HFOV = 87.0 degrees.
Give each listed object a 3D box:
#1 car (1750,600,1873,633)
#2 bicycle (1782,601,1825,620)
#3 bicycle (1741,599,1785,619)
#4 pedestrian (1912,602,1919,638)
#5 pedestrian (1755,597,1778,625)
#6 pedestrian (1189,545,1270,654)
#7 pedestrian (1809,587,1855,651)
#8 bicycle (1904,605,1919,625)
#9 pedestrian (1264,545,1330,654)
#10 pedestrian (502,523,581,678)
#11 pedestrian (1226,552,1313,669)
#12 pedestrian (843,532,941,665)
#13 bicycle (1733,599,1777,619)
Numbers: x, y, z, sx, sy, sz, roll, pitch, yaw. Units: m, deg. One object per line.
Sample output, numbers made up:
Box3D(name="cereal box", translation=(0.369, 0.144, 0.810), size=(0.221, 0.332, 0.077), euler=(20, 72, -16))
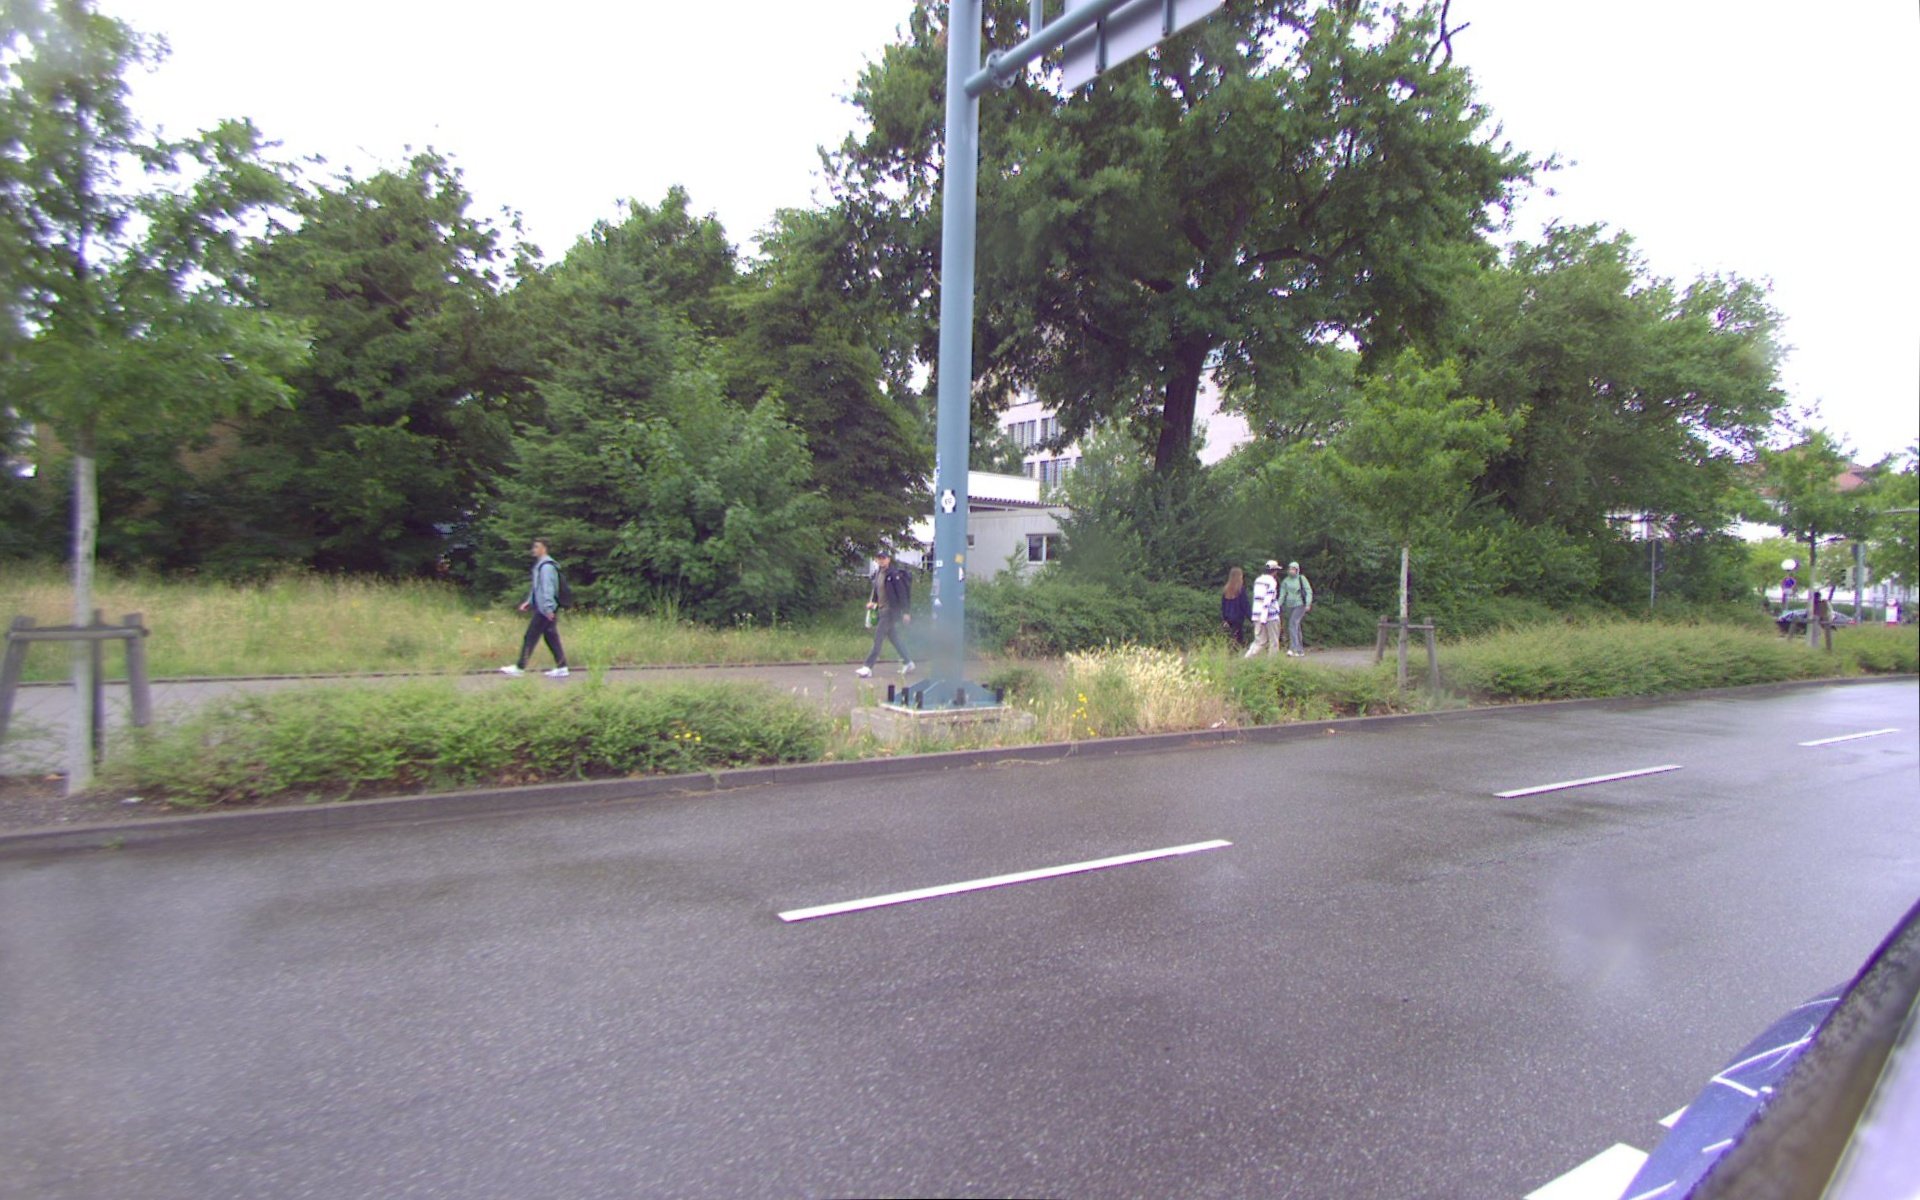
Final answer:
Box3D(name="car", translation=(42.084, 0.788, 50.099), size=(1.740, 1.353, 4.390), euler=(-2, 3, -36))
Box3D(name="bicycle", translation=(59.478, 0.744, 71.353), size=(0.589, 1.237, 2.280), euler=(1, 1, -45))
Box3D(name="bicycle", translation=(54.749, 0.621, 69.007), size=(0.589, 1.237, 2.280), euler=(1, 1, -45))
Box3D(name="pedestrian", translation=(44.192, 0.940, 46.237), size=(0.872, 1.627, 0.853), euler=(2, 1, 35))
Box3D(name="pedestrian", translation=(51.756, 0.716, 64.963), size=(0.841, 1.760, 1.114), euler=(2, 1, 25))
Box3D(name="pedestrian", translation=(4.463, -0.004, 16.798), size=(0.812, 1.726, 0.937), euler=(4, -2, -28))
Box3D(name="pedestrian", translation=(26.169, 0.560, 30.380), size=(0.833, 1.882, 0.733), euler=(1, 1, -26))
Box3D(name="bicycle", translation=(61.670, 0.969, 64.430), size=(0.589, 1.237, 2.280), euler=(1, 1, -45))
Box3D(name="pedestrian", translation=(6.487, -0.020, 19.498), size=(0.811, 2.039, 0.794), euler=(1, 1, -26))
Box3D(name="pedestrian", translation=(-5.176, 0.002, 12.486), size=(0.811, 1.819, 0.938), euler=(1, 1, -26))
Box3D(name="pedestrian", translation=(4.842, 0.165, 15.870), size=(0.812, 1.743, 0.937), euler=(4, -2, -28))
Box3D(name="pedestrian", translation=(-0.954, -0.027, 14.061), size=(1.024, 1.769, 0.938), euler=(1, 1, -26))
Box3D(name="bicycle", translation=(53.993, 0.618, 68.720), size=(0.589, 1.237, 2.280), euler=(1, 1, -45))
